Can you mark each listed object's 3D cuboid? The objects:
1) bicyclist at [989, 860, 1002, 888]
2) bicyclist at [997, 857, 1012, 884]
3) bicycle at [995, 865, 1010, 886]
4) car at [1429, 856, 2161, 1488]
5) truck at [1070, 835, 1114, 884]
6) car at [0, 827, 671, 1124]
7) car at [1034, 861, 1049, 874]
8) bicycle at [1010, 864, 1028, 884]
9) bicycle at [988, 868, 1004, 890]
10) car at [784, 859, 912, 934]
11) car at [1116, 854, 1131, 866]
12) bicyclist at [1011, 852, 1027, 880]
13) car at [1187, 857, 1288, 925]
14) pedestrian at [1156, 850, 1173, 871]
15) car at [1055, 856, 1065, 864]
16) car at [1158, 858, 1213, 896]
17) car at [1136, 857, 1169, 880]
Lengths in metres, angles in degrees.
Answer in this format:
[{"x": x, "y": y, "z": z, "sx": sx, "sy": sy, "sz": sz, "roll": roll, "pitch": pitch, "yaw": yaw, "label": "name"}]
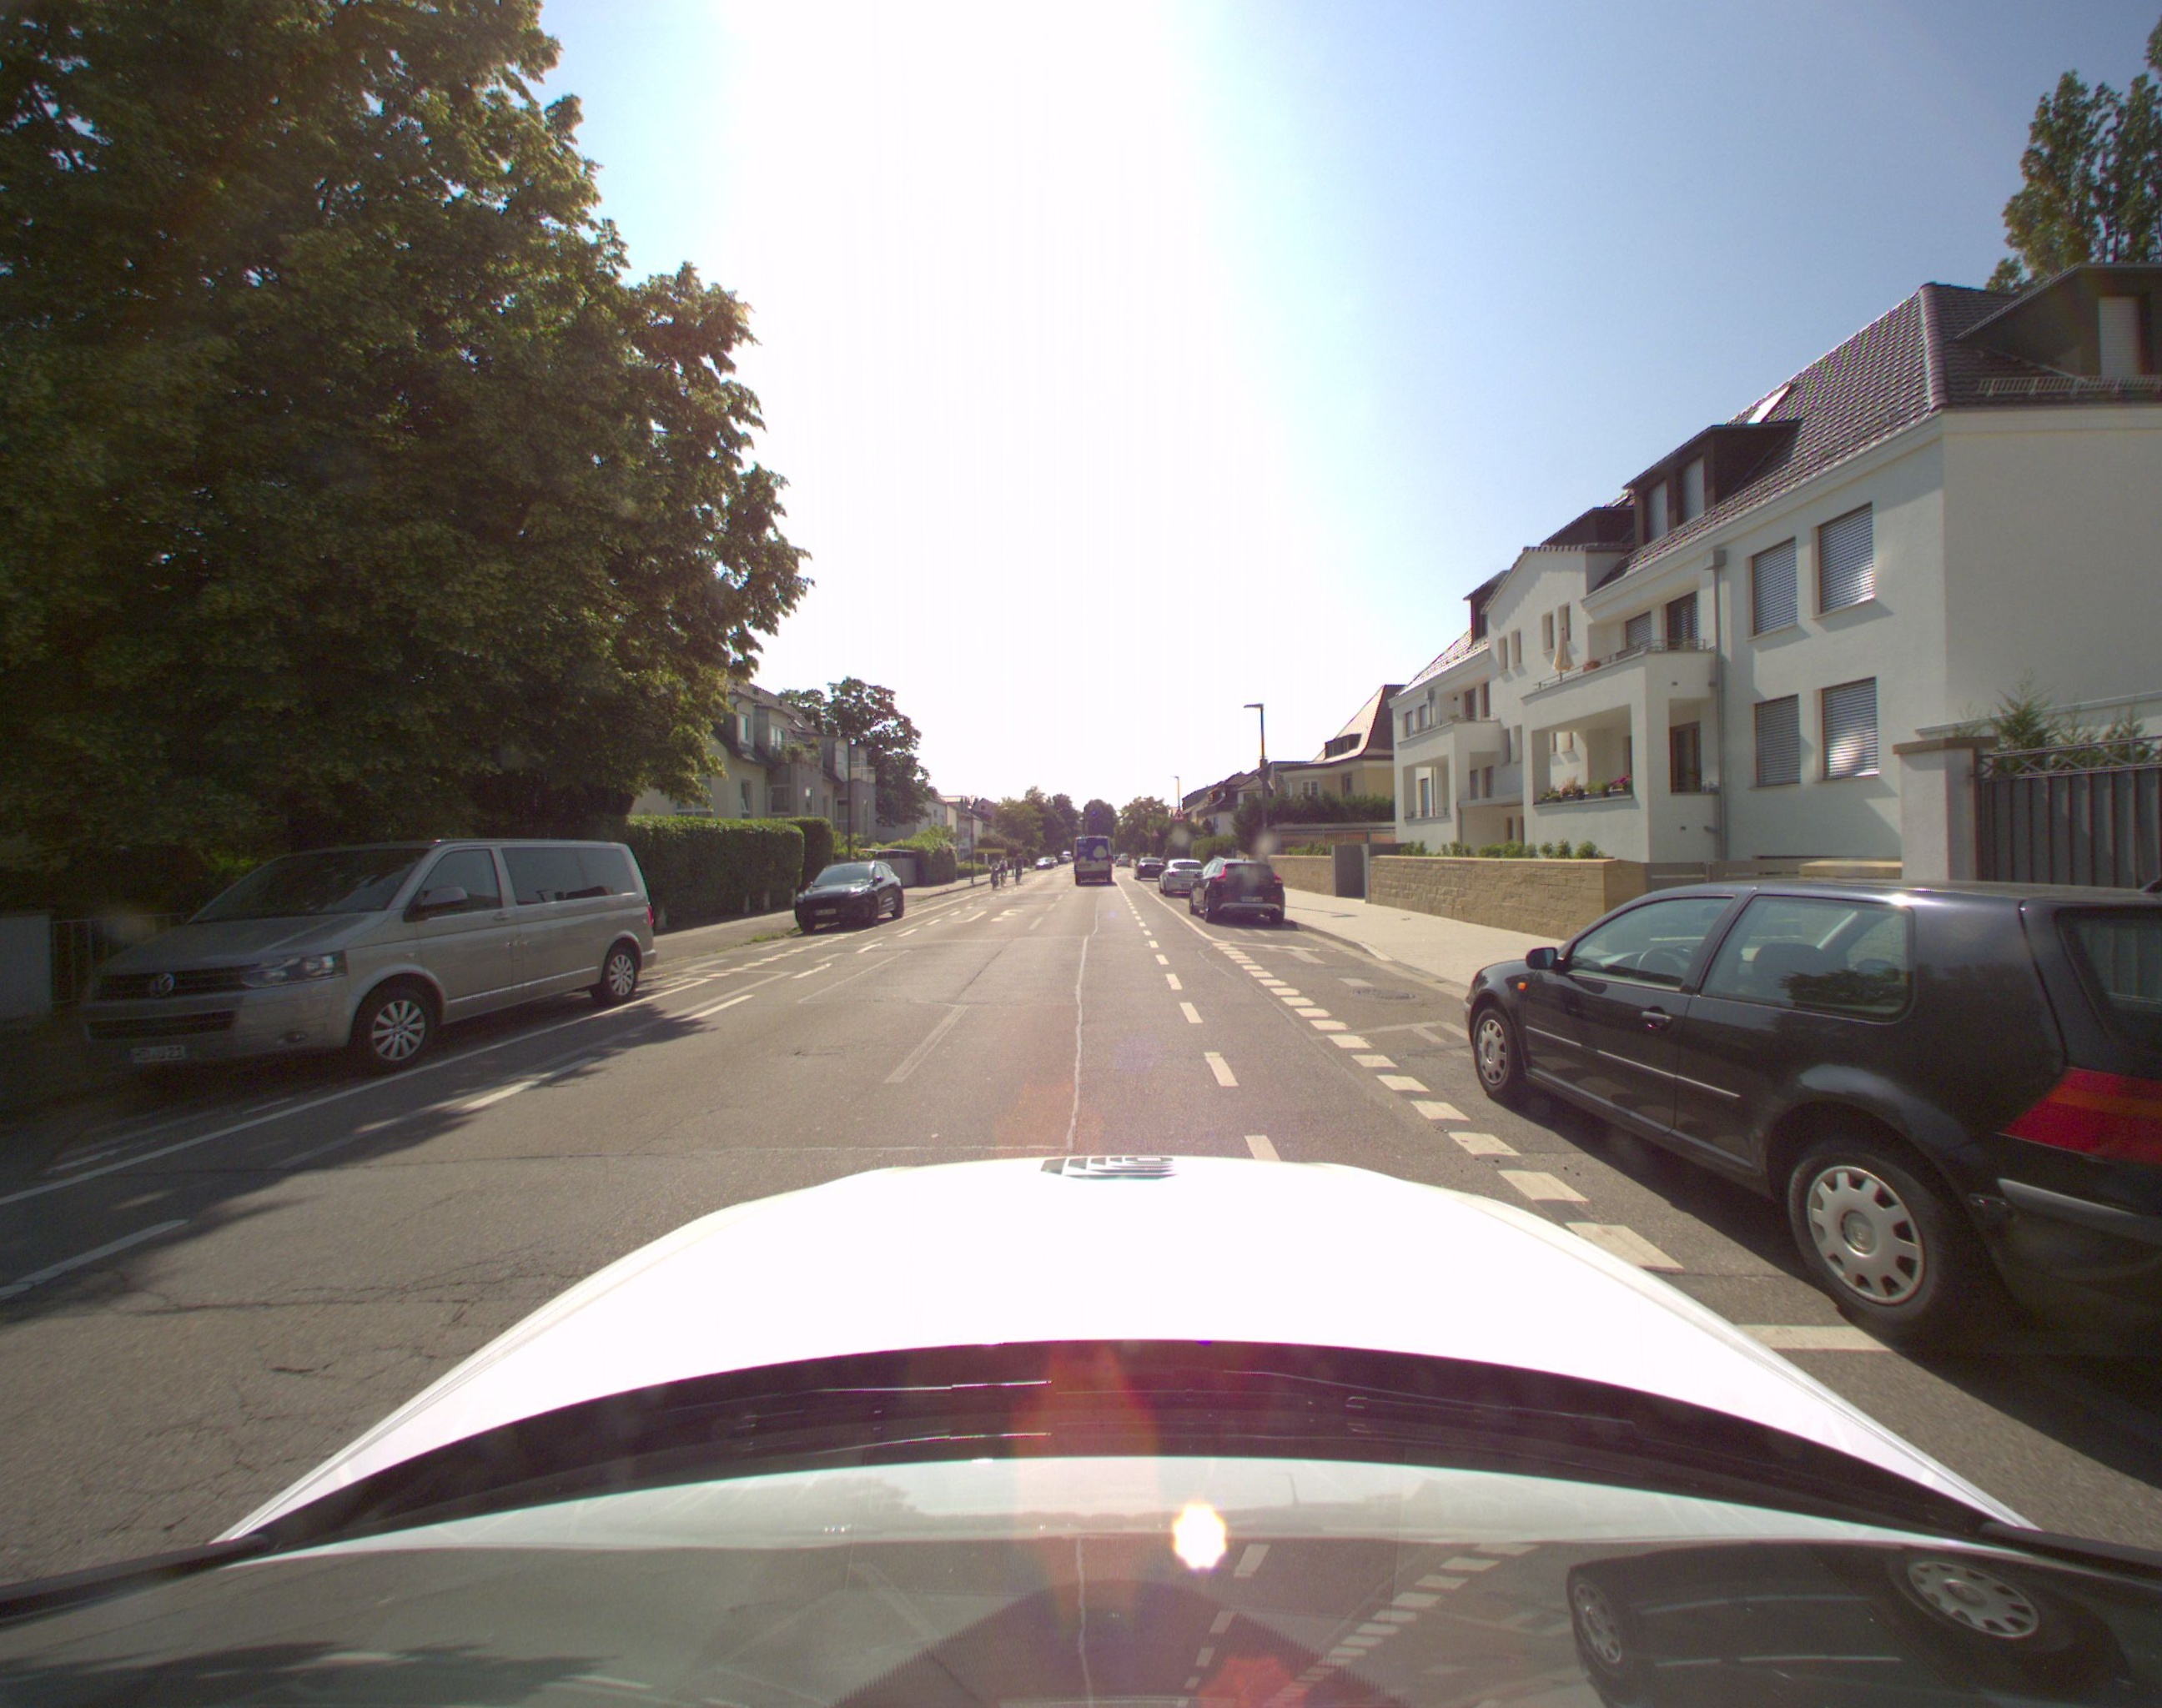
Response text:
[{"x": -4.497, "y": 1.051, "z": 42.909, "sx": 0.488, "sy": 1.454, "sz": 0.964, "roll": -4, "pitch": -1, "yaw": 1, "label": "bicyclist"}, {"x": -4.461, "y": 0.960, "z": 47.708, "sx": 0.673, "sy": 1.580, "sz": 0.859, "roll": -4, "pitch": -1, "yaw": 1, "label": "bicyclist"}, {"x": -4.566, "y": 1.254, "z": 47.641, "sx": 0.557, "sy": 1.185, "sz": 2.036, "roll": -4, "pitch": -1, "yaw": 2, "label": "bicycle"}, {"x": 3.305, "y": 0.769, "z": 3.879, "sx": 1.614, "sy": 1.449, "sz": 4.000, "roll": 2, "pitch": 0, "yaw": 1, "label": "car"}, {"x": 0.627, "y": 0.331, "z": 45.610, "sx": 2.264, "sy": 2.571, "sz": 4.392, "roll": -1, "pitch": -1, "yaw": 1, "label": "truck"}, {"x": -6.336, "y": 0.836, "z": 7.989, "sx": 1.877, "sy": 1.919, "sz": 4.871, "roll": -4, "pitch": 0, "yaw": 3, "label": "car"}, {"x": -4.955, "y": 1.723, "z": 102.708, "sx": 1.781, "sy": 1.440, "sz": 4.151, "roll": -3, "pitch": 0, "yaw": -2, "label": "car"}, {"x": -3.828, "y": 1.229, "z": 50.659, "sx": 0.780, "sy": 1.166, "sz": 2.421, "roll": -4, "pitch": -1, "yaw": 2, "label": "bicycle"}, {"x": -4.470, "y": 1.303, "z": 42.849, "sx": 0.598, "sy": 1.105, "sz": 1.347, "roll": -4, "pitch": -1, "yaw": 2, "label": "bicycle"}, {"x": -5.981, "y": 1.021, "z": 21.475, "sx": 1.844, "sy": 1.611, "sz": 4.450, "roll": -5, "pitch": 0, "yaw": 2, "label": "car"}, {"x": 5.482, "y": 0.725, "z": 105.845, "sx": 1.735, "sy": 1.402, "sz": 4.073, "roll": 2, "pitch": 1, "yaw": 0, "label": "car"}, {"x": -3.852, "y": 0.728, "z": 50.760, "sx": 0.746, "sy": 1.667, "sz": 1.022, "roll": -4, "pitch": -1, "yaw": 1, "label": "bicyclist"}, {"x": 3.681, "y": 0.822, "z": 19.830, "sx": 1.716, "sy": 1.449, "sz": 4.169, "roll": 1, "pitch": 0, "yaw": 1, "label": "car"}, {"x": 7.535, "y": 0.575, "z": 73.336, "sx": 0.905, "sy": 1.872, "sz": 1.177, "roll": -1, "pitch": -1, "yaw": -32, "label": "pedestrian"}, {"x": -4.062, "y": 1.220, "z": 160.642, "sx": 1.775, "sy": 1.460, "sz": 4.085, "roll": -2, "pitch": 0, "yaw": 0, "label": "car"}, {"x": 4.010, "y": 0.895, "z": 31.859, "sx": 1.730, "sy": 1.329, "sz": 4.077, "roll": 2, "pitch": -1, "yaw": 2, "label": "car"}, {"x": 4.397, "y": 0.891, "z": 50.837, "sx": 1.730, "sy": 1.329, "sz": 4.261, "roll": -2, "pitch": 0, "yaw": 1, "label": "car"}]
